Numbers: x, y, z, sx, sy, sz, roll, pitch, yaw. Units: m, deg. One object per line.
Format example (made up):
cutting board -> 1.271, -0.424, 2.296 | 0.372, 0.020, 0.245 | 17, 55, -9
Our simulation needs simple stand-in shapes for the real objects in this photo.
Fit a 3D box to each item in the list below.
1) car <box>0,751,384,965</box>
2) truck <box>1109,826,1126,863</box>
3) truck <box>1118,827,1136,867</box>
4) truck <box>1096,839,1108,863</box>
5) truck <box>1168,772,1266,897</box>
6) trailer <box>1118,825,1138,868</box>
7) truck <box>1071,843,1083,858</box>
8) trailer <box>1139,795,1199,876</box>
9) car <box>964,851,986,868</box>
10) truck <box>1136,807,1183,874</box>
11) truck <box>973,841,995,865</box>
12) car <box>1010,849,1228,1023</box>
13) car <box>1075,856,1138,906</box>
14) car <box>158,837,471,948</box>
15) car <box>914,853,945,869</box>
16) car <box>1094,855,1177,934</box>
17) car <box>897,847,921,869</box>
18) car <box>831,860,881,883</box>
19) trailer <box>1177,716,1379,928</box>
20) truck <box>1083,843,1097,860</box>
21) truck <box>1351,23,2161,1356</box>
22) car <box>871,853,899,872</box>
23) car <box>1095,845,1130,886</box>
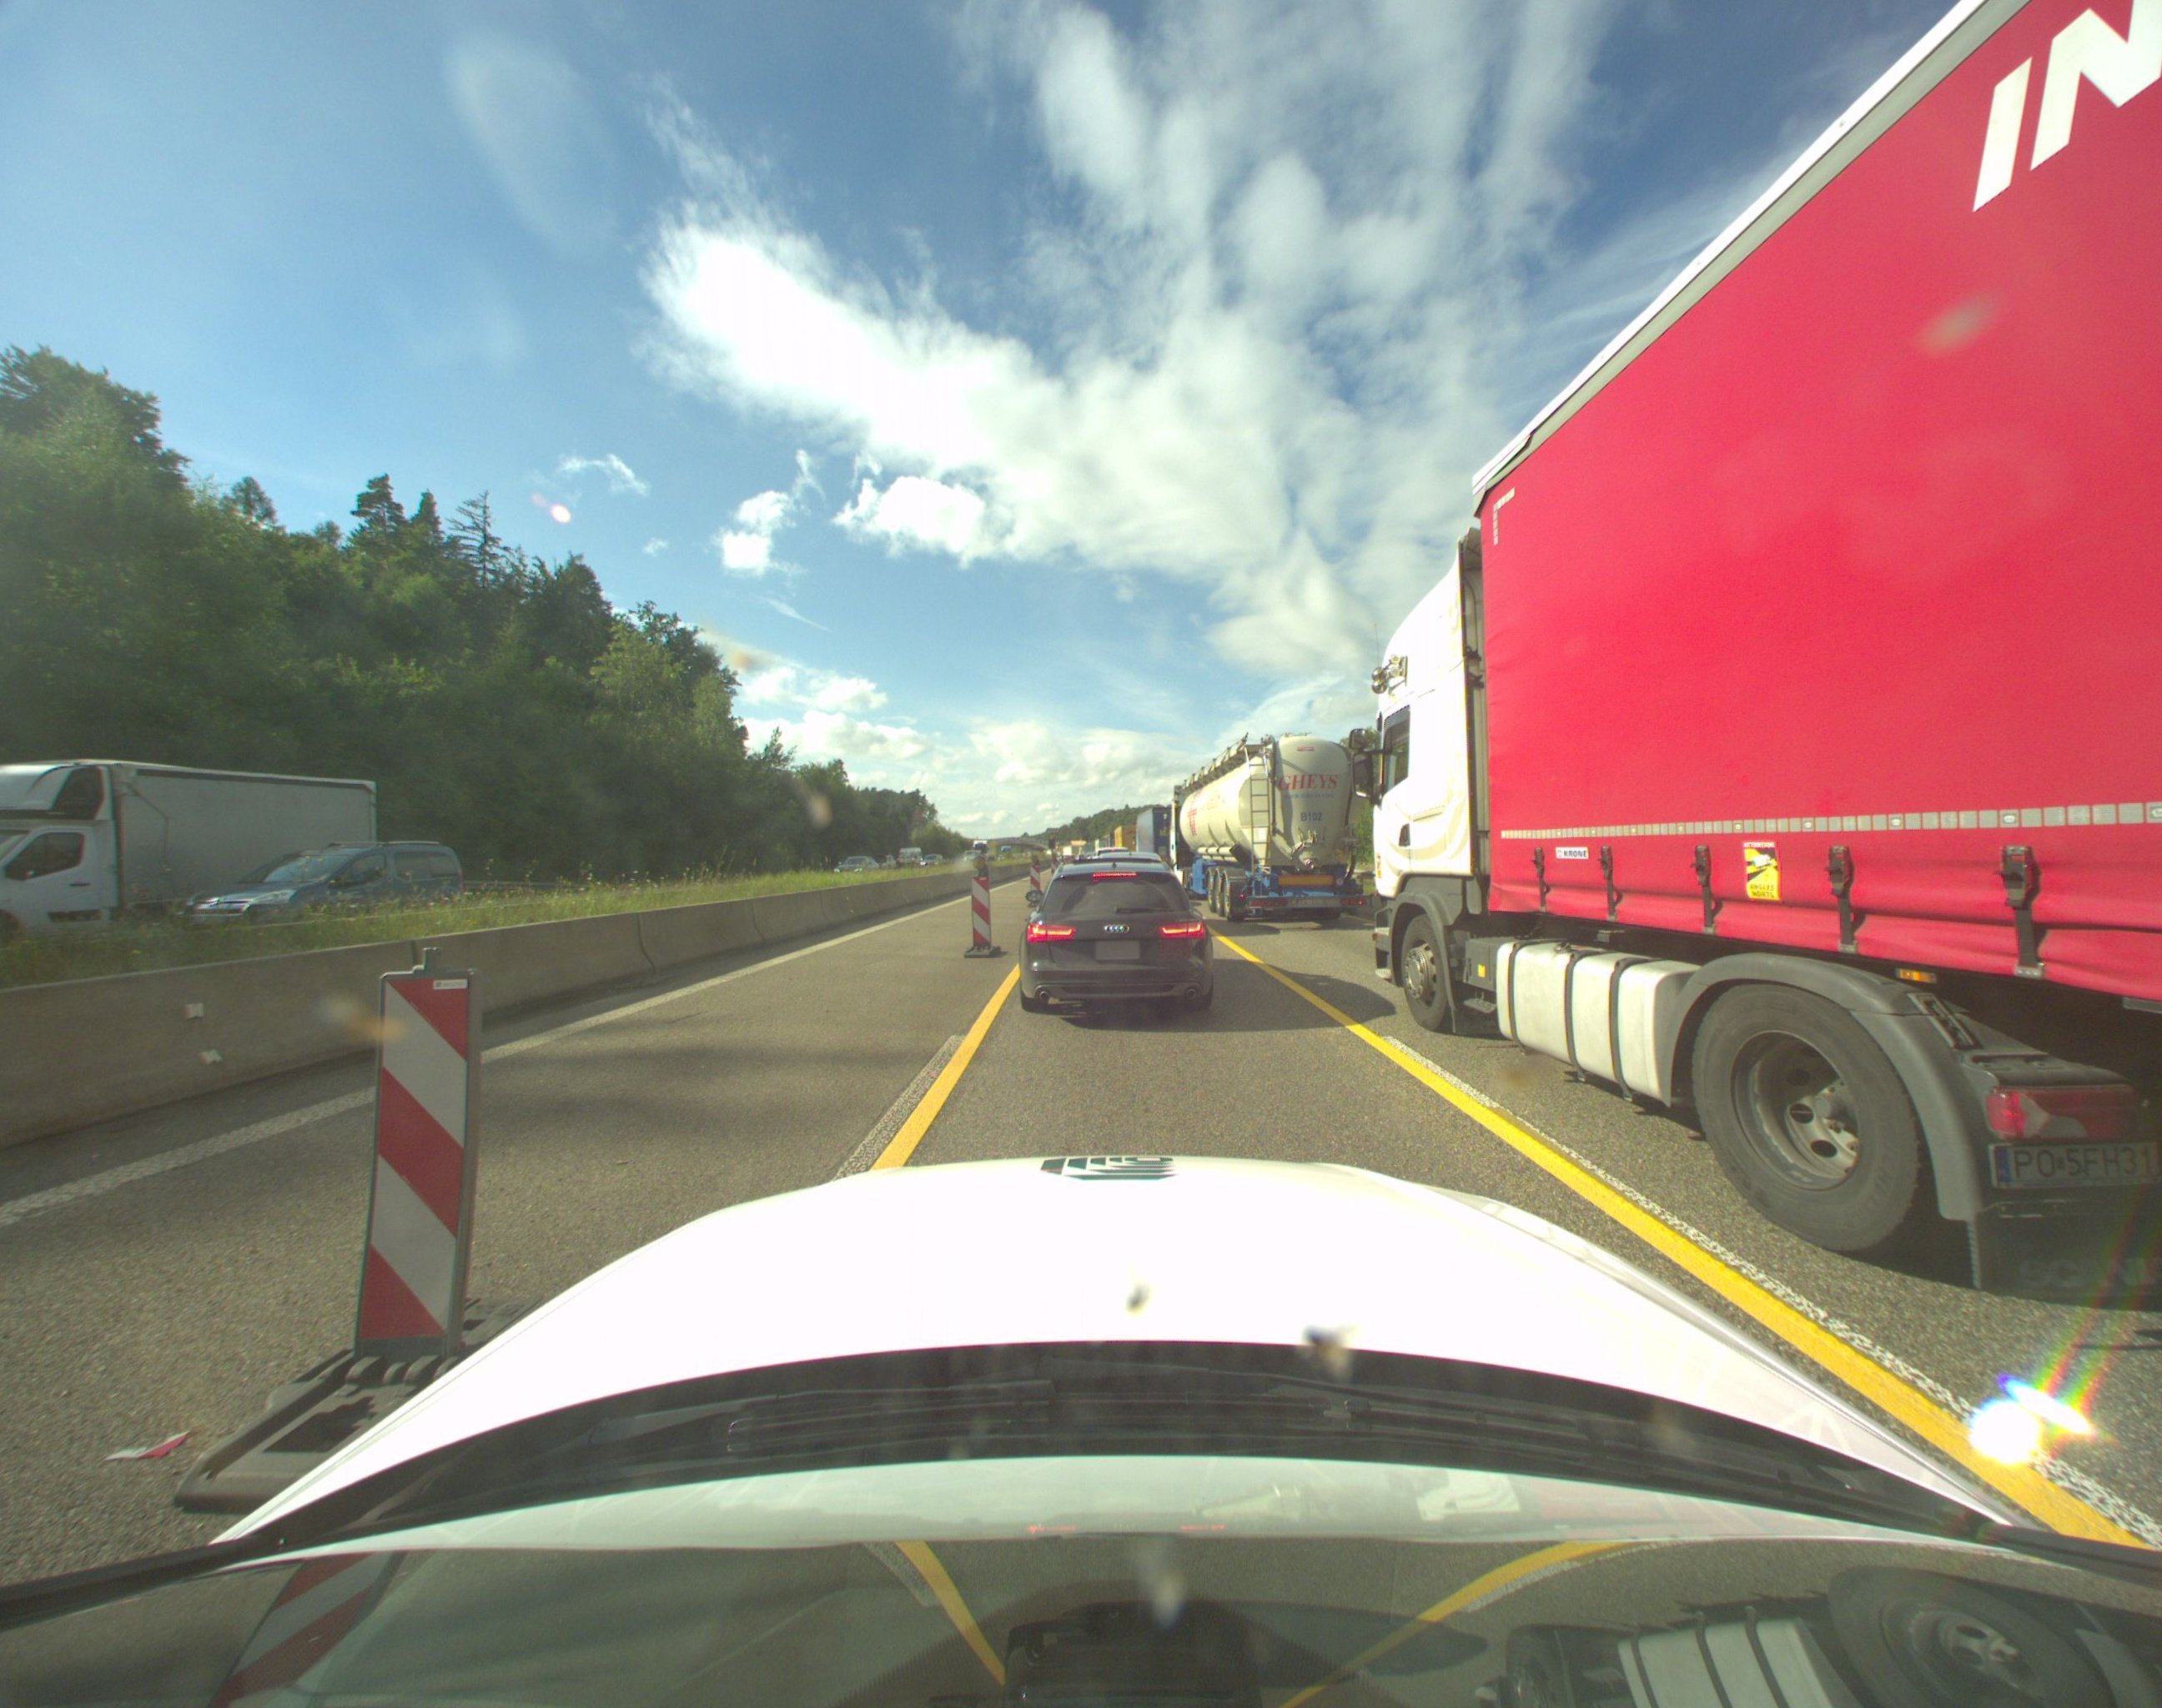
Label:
car -> -18.152, 0.094, 15.936 | 2.478, 3.370, 7.454 | 0, 0, 1
truck -> 4.938, -1.258, 111.100 | 1.987, 4.914, 9.562 | -1, 0, 0
truck -> 4.525, -0.661, 81.148 | 1.604, 3.897, 4.072 | 0, -1, 1
truck -> 3.760, -0.474, 144.761 | 2.130, 4.257, 7.073 | 0, -1, 1
truck -> 4.659, -0.597, 28.861 | 2.649, 3.972, 5.781 | 0, -1, 2
trailer -> 4.459, -0.695, 77.377 | 1.611, 3.918, 6.490 | 0, -1, 1
truck -> -1.205, -0.973, 237.835 | 3.295, 4.174, 9.697 | -1, 0, -1
trailer -> 5.220, -0.982, 50.061 | 2.795, 4.413, 10.436 | 0, 0, 2
car -> -13.168, 0.679, 101.742 | 1.986, 2.014, 4.833 | 0, 0, 2
truck -> 5.419, -0.871, 57.543 | 2.796, 4.369, 7.794 | 0, -1, 2
truck -> -16.731, -0.139, 140.334 | 2.816, 3.909, 5.951 | 0, -1, 2
car -> 0.389, 0.716, 8.986 | 1.842, 1.463, 4.001 | -1, 0, 2
car -> 0.776, 0.760, 24.529 | 1.745, 1.397, 3.609 | 0, 0, 2
car -> -14.151, 0.613, 15.458 | 1.937, 1.812, 4.121 | 0, 0, 2
car -> -13.962, 0.639, 75.295 | 1.951, 1.363, 4.289 | 0, 0, 2
car -> 1.053, 0.748, 16.573 | 1.518, 1.439, 3.286 | 0, 0, 2
car -> -20.860, 0.514, 98.736 | 2.247, 2.643, 5.009 | 0, -1, -6
car -> -13.904, 1.074, 50.654 | 1.772, 1.387, 4.312 | 0, 0, 2
trailer -> 4.415, -0.589, 21.502 | 2.634, 3.943, 12.602 | 0, 0, 2
truck -> 2.270, -0.664, 206.491 | 3.293, 4.175, 9.700 | -1, 0, 0
truck -> 3.984, -0.501, 5.270 | 2.658, 3.959, 5.711 | 0, 0, 1
car -> -21.366, 0.965, 88.877 | 1.986, 2.014, 4.001 | 0, -1, 2
car -> 1.470, 0.517, 38.115 | 1.575, 1.837, 3.113 | 0, -1, 2
